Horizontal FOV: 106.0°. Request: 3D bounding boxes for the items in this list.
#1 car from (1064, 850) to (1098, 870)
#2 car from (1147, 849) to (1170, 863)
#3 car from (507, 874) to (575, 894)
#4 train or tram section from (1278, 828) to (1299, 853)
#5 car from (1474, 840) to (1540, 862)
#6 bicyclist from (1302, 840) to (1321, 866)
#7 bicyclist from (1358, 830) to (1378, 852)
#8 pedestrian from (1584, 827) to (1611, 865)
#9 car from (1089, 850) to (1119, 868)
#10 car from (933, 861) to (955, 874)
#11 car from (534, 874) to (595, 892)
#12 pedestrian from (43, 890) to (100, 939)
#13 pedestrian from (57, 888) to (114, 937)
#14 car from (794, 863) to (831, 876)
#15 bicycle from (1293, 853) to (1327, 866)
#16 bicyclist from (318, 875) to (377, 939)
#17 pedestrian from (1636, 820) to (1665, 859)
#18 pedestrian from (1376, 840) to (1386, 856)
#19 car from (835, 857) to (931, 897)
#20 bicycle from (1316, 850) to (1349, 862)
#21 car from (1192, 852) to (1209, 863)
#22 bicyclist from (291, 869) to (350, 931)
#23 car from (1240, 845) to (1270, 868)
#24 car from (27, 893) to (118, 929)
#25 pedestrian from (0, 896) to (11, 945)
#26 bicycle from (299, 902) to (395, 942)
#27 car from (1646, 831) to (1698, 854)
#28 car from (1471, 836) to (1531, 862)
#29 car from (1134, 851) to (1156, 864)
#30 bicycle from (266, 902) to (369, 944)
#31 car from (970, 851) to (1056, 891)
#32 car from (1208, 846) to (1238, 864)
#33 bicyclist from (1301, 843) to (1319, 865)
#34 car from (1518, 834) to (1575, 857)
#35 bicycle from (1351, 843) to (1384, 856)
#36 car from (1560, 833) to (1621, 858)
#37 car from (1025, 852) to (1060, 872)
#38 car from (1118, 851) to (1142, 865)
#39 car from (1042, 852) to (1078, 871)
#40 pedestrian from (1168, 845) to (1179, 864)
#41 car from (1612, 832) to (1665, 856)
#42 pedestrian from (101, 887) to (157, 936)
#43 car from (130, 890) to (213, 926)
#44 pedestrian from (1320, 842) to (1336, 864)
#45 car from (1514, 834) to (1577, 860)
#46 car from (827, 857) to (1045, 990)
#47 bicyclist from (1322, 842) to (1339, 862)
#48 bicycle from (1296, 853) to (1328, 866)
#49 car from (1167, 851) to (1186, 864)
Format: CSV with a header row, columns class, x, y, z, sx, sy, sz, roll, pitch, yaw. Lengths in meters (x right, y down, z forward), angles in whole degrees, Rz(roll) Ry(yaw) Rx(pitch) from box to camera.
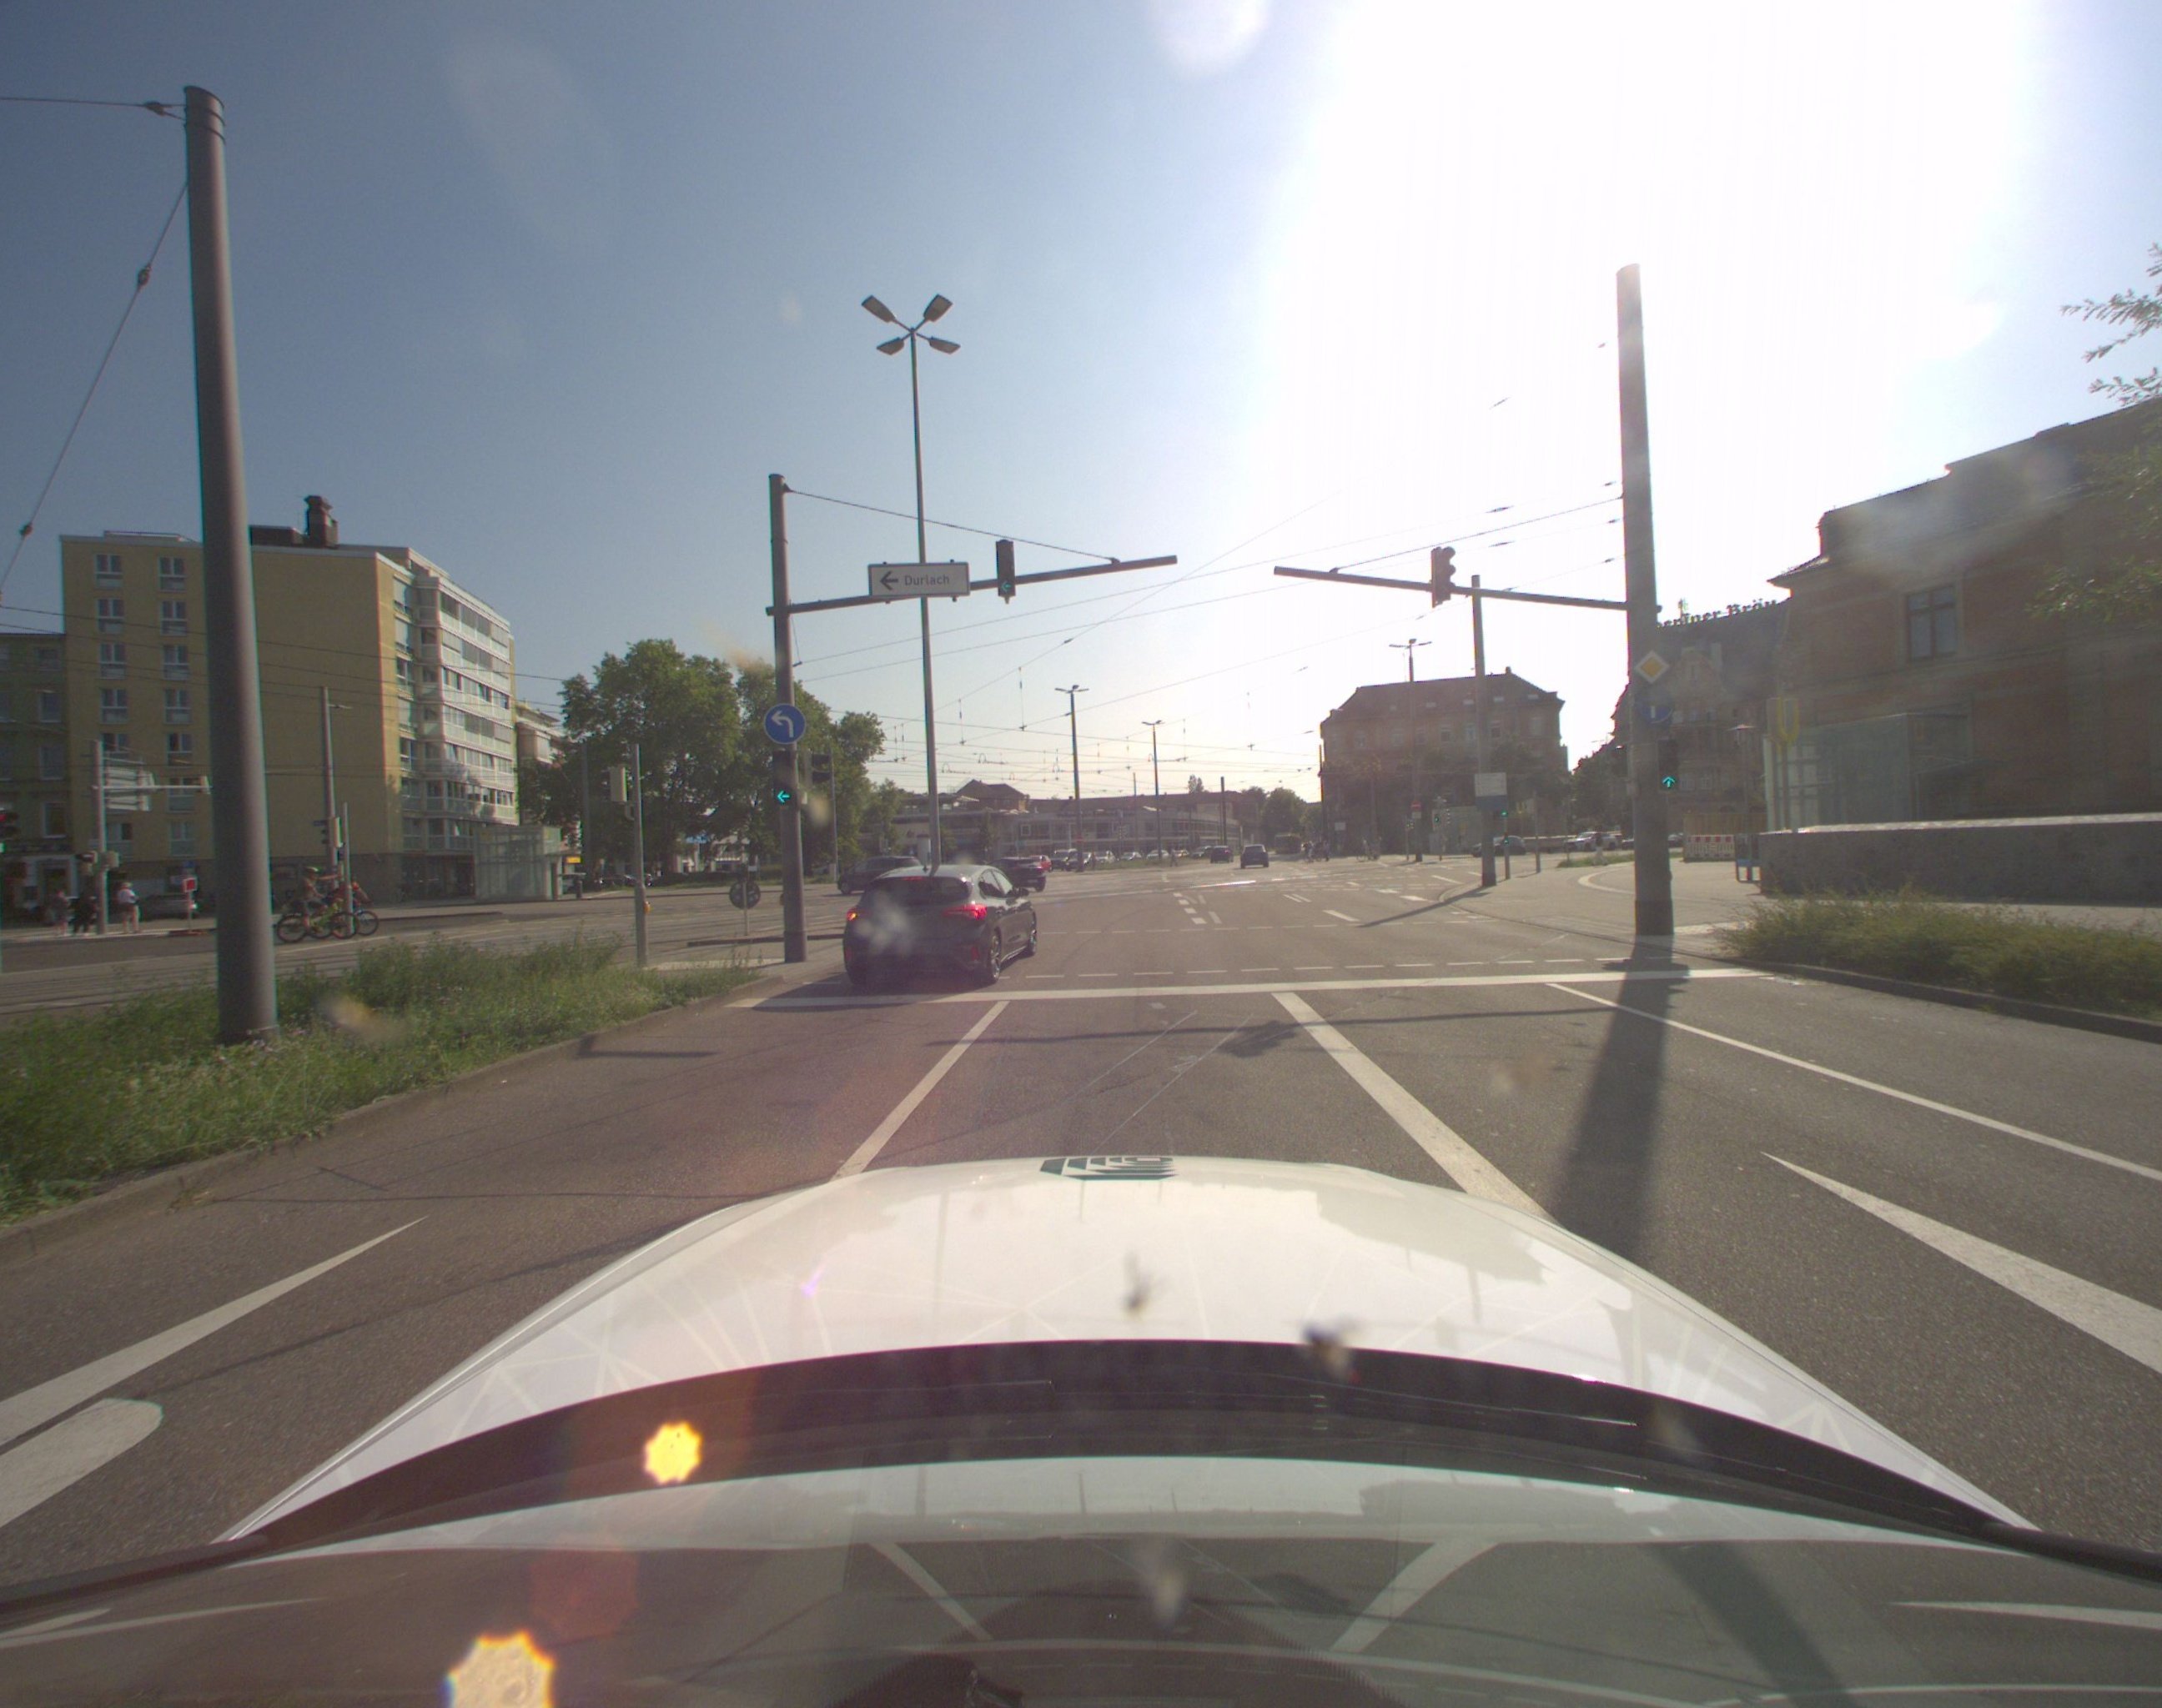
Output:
class,x,y,z,sx,sy,sz,roll,pitch,yaw
car,0.035,0.467,68.547,1.601,1.475,4.018,-4,-1,17
car,8.813,0.204,92.015,1.601,1.475,4.019,-4,-1,18
car,-42.569,2.382,64.275,4.167,1.354,1.569,-2,0,-17
train or tram section,33.007,-2.114,129.278,2.634,3.699,10.637,-3,0,17
car,30.516,-0.219,58.328,4.396,1.397,2.006,-2,0,-26
bicyclist,18.927,-0.084,66.922,0.941,2.024,1.081,-2,0,-35
bicyclist,22.826,-1.021,64.692,0.941,1.708,1.081,-2,0,-35
pedestrian,23.171,-0.364,36.524,0.910,1.690,0.843,-2,0,39
car,2.143,0.423,74.917,1.601,1.475,4.018,-4,-1,17
car,-17.817,1.735,105.866,1.691,1.522,4.107,-2,0,6
car,-44.762,2.466,70.701,4.167,1.354,1.569,-2,0,-17
pedestrian,-37.234,2.216,30.043,0.924,1.690,0.918,-2,0,-16
pedestrian,-35.961,2.095,29.436,0.924,1.690,0.918,-2,0,-16
car,-35.503,2.058,107.706,1.683,1.522,4.544,-2,0,33
bicycle,19.461,0.440,69.208,2.629,0.964,1.085,-2,0,-22
bicyclist,-20.029,1.422,22.249,0.881,1.652,0.724,-2,0,-10
pedestrian,25.484,-0.654,36.411,0.911,1.690,0.931,-2,0,42
pedestrian,27.617,-0.567,74.870,0.672,1.471,0.540,-2,0,-43
car,-9.420,1.111,38.704,4.355,1.714,1.843,-2,0,32
bicycle,21.815,0.196,70.721,2.629,0.964,1.085,-2,0,-22
car,16.665,0.470,113.873,1.601,1.475,4.019,-4,-1,18
bicyclist,-19.652,1.164,21.052,0.794,1.527,0.724,-2,0,-10
car,11.786,0.123,55.103,1.813,1.428,4.427,-3,0,12
car,-52.169,2.944,42.118,4.493,1.678,2.012,-2,0,26
pedestrian,-38.117,2.337,28.176,0.924,1.690,0.918,-2,0,-16
bicycle,-20.015,1.845,22.248,1.813,0.932,0.724,-2,0,-10
car,51.944,-1.025,71.515,4.259,1.859,1.894,-2,0,-26
car,32.233,-0.405,62.510,4.259,1.859,1.894,-2,0,-26
car,7.803,0.401,99.009,1.601,1.475,4.019,-4,-1,18
bicycle,-19.696,1.779,21.037,1.813,0.932,0.724,-2,0,-10
car,-2.935,0.748,34.317,1.695,1.492,4.325,-1,-2,-34
car,13.537,0.094,77.511,1.809,1.535,4.436,-3,0,22
bicyclist,19.430,0.019,69.200,0.938,1.800,1.085,-2,0,-22
car,40.947,-0.706,71.669,4.270,1.859,1.920,-2,0,-17
bicycle,22.756,-0.347,64.627,2.638,0.964,1.081,-2,0,-36
car,41.465,-0.701,66.297,4.674,1.859,2.028,-2,0,-26
car,-3.157,0.670,67.859,1.601,1.475,4.018,-4,-1,17
car,5.564,0.456,92.147,1.601,1.475,4.019,-4,-1,18
car,-1.846,0.671,73.740,1.945,1.475,4.018,-4,-1,17
pedestrian,7.788,0.048,68.499,0.773,1.503,0.712,-2,0,10
car,47.499,-0.851,69.371,4.259,1.859,1.894,-2,0,-26
pedestrian,-34.510,2.073,29.547,0.924,1.690,0.918,-2,0,-16
car,-47.604,2.805,42.602,4.491,1.678,2.013,-2,0,30
pedestrian,20.684,-0.064,68.126,0.933,1.797,0.850,-2,0,-39
car,36.771,-0.543,64.465,4.716,1.859,1.895,-2,0,-24
car,-1.747,0.799,11.482,1.823,1.435,4.557,-2,0,5
bicyclist,21.623,-0.164,70.641,0.938,1.680,1.085,-2,0,-22
bicycle,18.986,0.458,66.943,2.638,0.964,1.081,-2,0,-36
car,12.426,0.440,105.719,1.601,1.475,4.019,-4,-1,18
